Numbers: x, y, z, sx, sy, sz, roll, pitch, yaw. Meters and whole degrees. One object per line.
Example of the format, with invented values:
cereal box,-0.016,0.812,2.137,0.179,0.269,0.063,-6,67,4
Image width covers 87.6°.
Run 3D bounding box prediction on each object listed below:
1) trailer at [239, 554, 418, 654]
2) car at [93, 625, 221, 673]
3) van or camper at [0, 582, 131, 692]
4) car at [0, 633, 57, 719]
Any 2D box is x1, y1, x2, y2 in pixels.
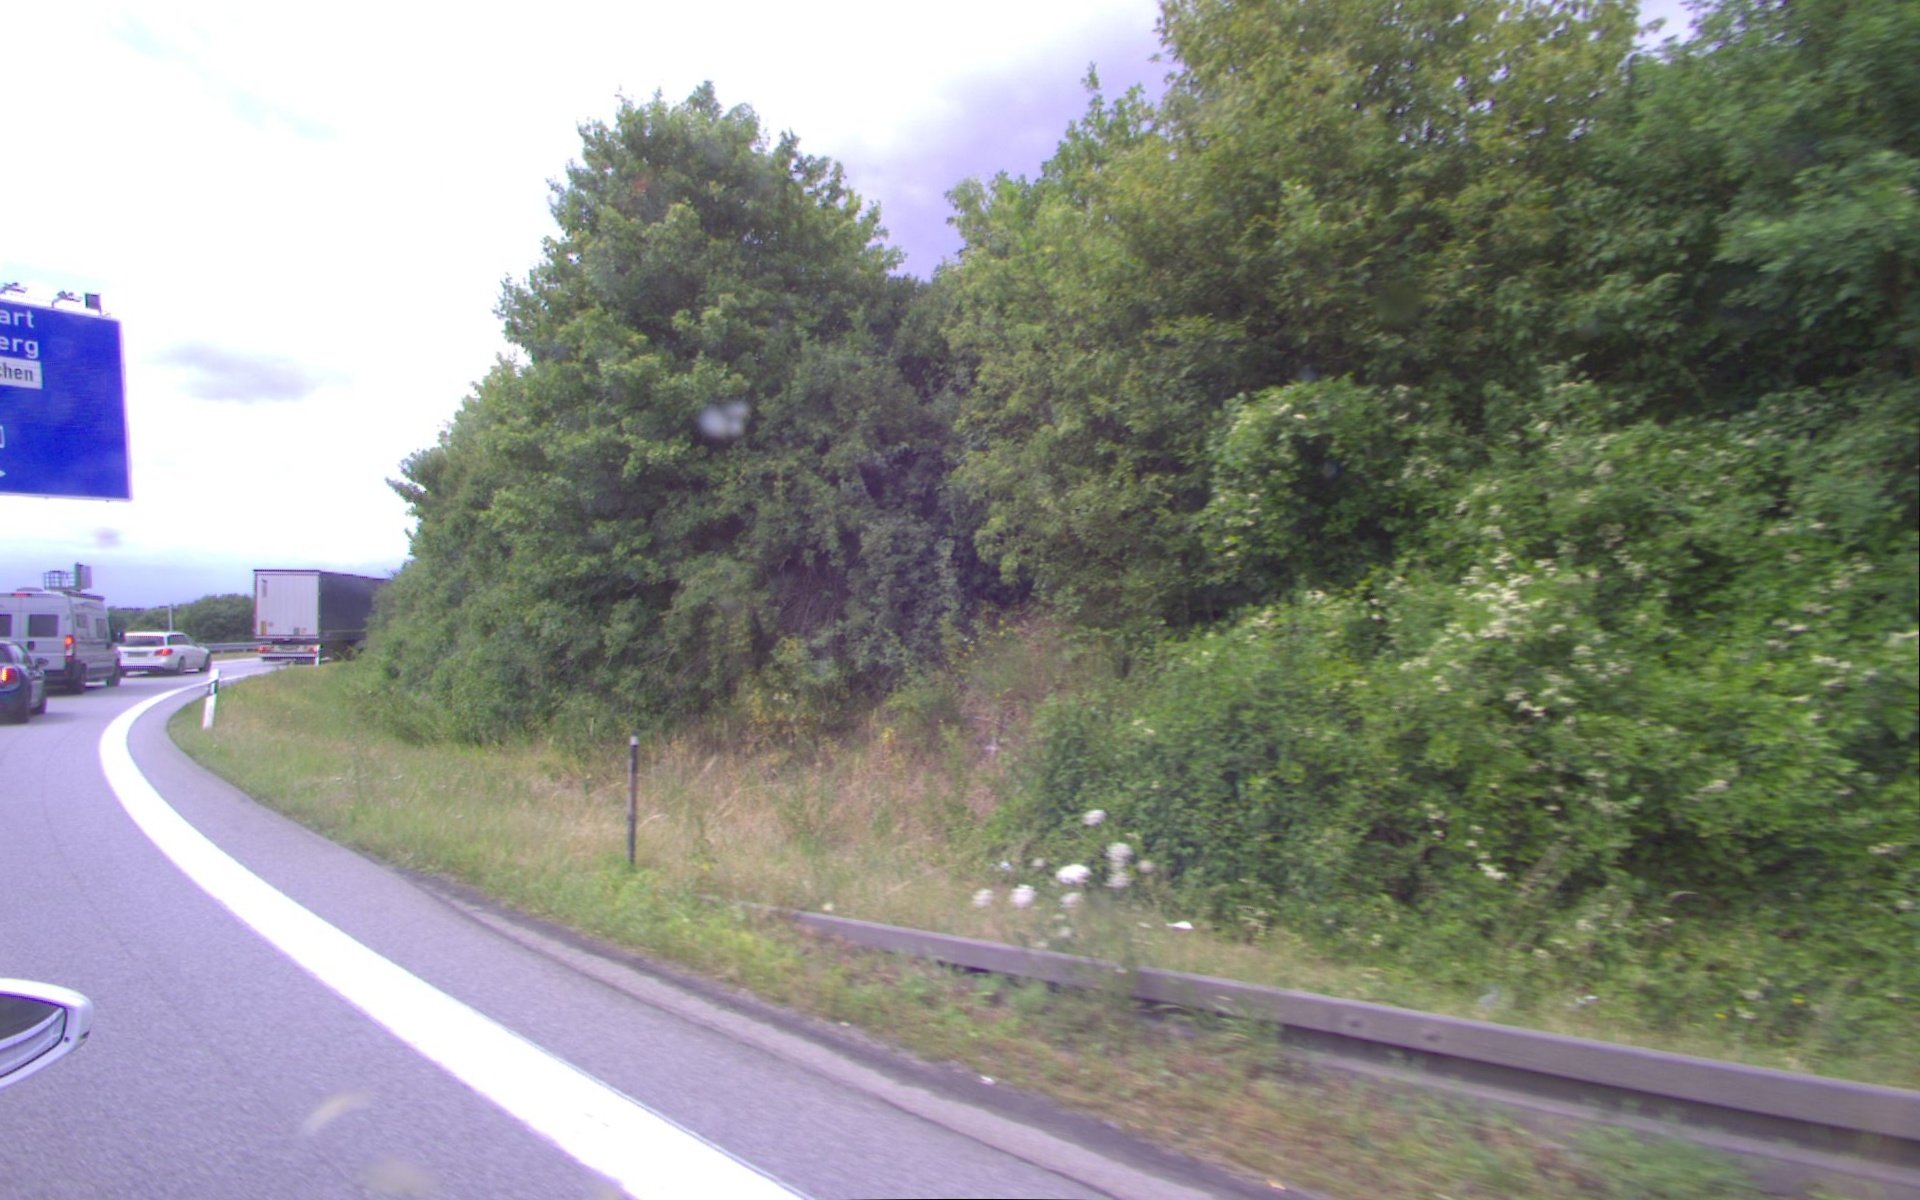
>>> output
trailer,-30.397,0.342,49.133,3.280,4.247,13.021,0,-1,-13
car,-28.127,1.658,35.296,2.176,1.521,4.774,0,-1,-22
van or camper,-23.939,0.932,26.478,2.269,2.602,6.126,0,-1,-32
car,-17.557,1.320,17.962,1.714,1.437,3.639,1,-2,-37
